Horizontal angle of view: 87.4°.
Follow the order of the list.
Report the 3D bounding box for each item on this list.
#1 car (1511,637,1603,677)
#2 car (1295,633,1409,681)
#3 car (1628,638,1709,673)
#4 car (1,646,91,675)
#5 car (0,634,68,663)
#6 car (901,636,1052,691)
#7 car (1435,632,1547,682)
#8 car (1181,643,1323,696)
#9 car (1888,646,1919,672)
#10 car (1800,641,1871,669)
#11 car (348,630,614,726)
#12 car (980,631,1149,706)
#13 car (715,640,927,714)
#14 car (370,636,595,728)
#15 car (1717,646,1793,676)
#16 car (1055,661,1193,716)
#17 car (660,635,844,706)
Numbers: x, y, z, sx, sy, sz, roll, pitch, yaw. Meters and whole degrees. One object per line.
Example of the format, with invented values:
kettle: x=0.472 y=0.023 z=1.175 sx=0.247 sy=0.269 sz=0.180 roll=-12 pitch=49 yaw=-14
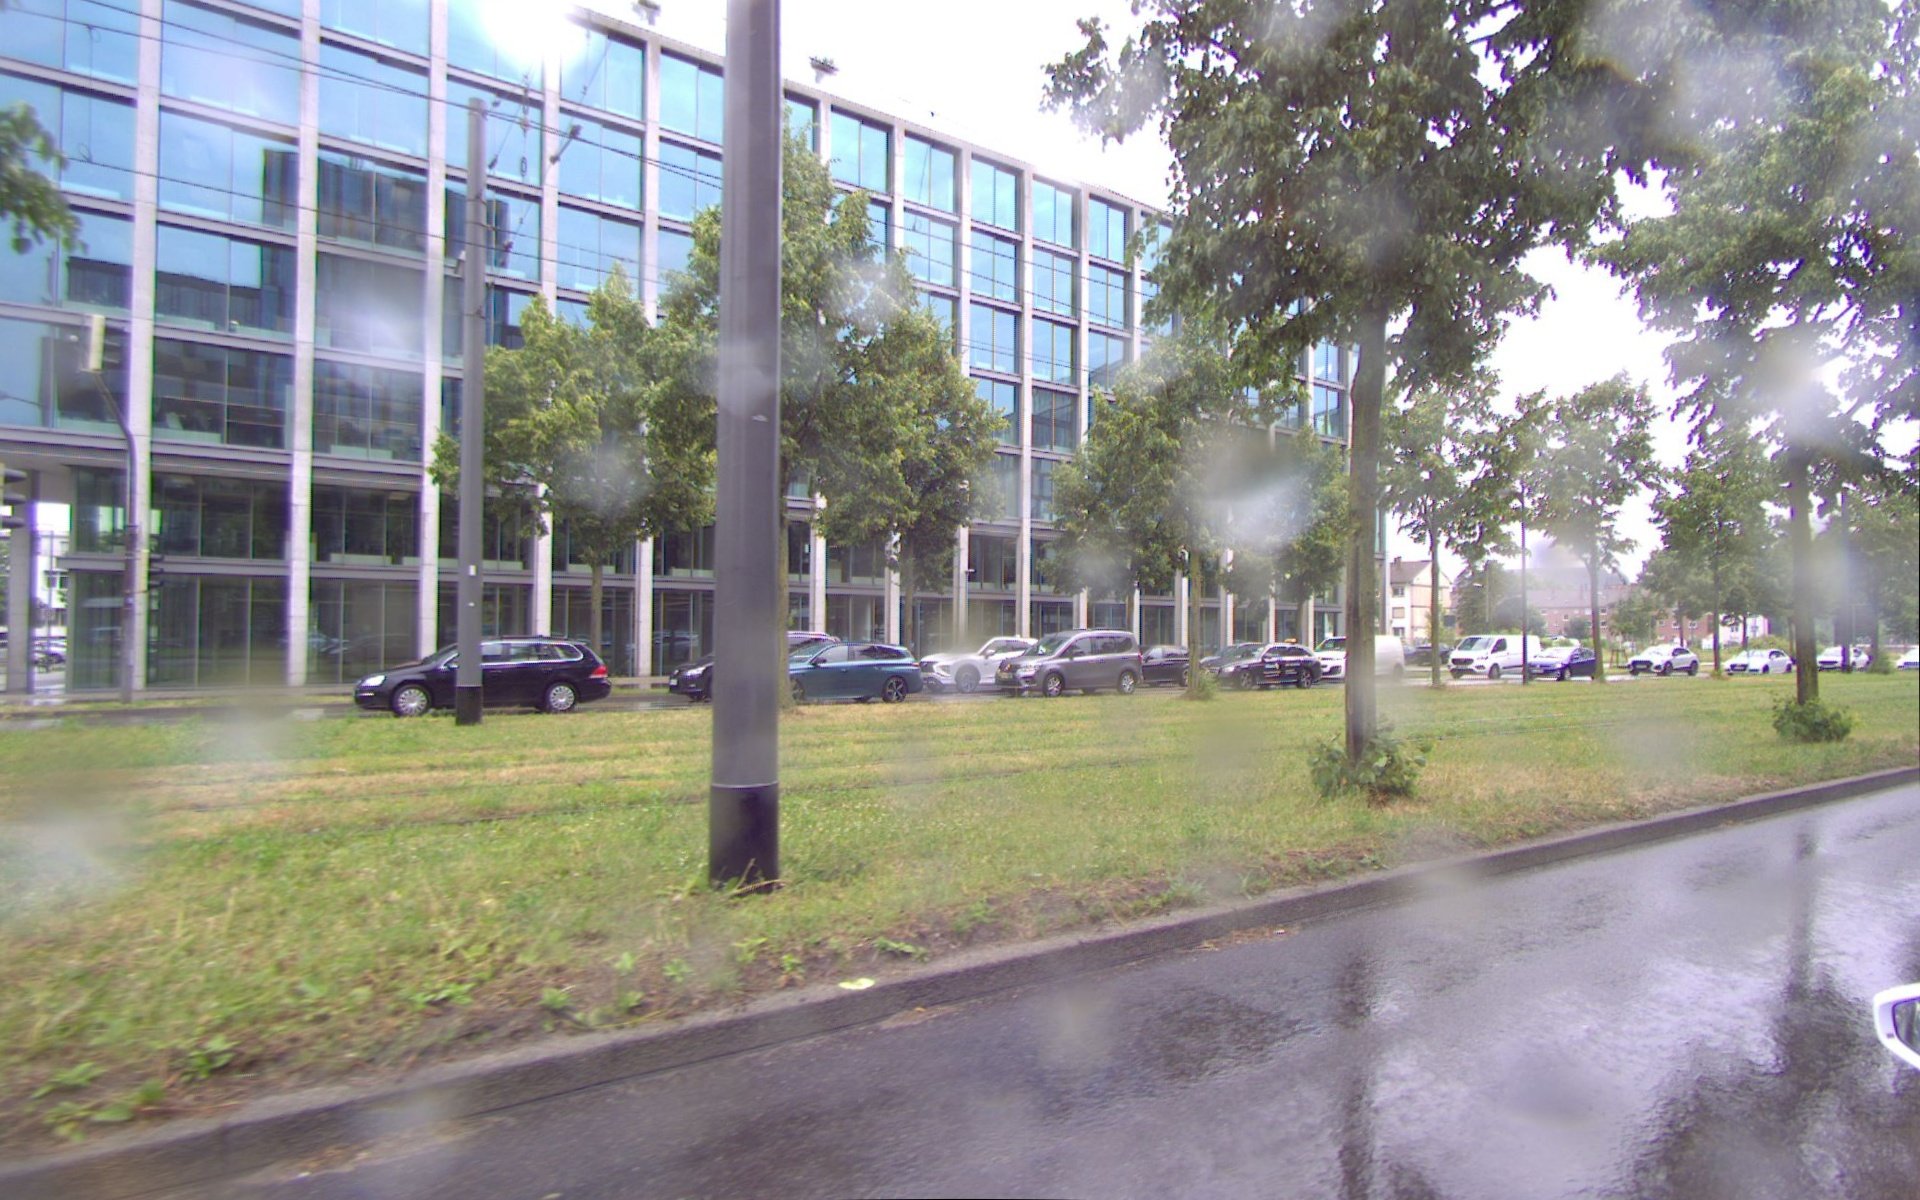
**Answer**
car: x=25.873 y=2.431 z=43.532 sx=3.920 sy=1.514 sz=1.939 roll=-1 pitch=-1 yaw=-34
car: x=15.922 y=2.251 z=40.687 sx=4.981 sy=1.674 sz=1.937 roll=-1 pitch=-1 yaw=-36
car: x=38.002 y=2.972 z=53.864 sx=4.524 sy=1.772 sz=1.941 roll=2 pitch=-2 yaw=-31
car: x=-60.207 y=3.954 z=66.256 sx=3.945 sy=1.684 sz=1.988 roll=-1 pitch=-1 yaw=-25
car: x=-58.681 y=3.013 z=62.781 sx=3.945 sy=1.684 sz=1.988 roll=-1 pitch=-1 yaw=-25
car: x=0.541 y=1.842 z=30.189 sx=4.231 sy=1.404 sz=1.937 roll=-1 pitch=-1 yaw=-36
car: x=24.575 y=2.588 z=46.447 sx=5.314 sy=2.033 sz=2.255 roll=-1 pitch=-1 yaw=-33
car: x=9.409 y=2.183 z=32.259 sx=4.557 sy=1.404 sz=1.938 roll=-1 pitch=-1 yaw=-35
car: x=63.253 y=3.845 z=66.072 sx=4.774 sy=1.480 sz=1.941 roll=-1 pitch=-1 yaw=-31
car: x=49.512 y=3.079 z=56.793 sx=4.529 sy=1.471 sz=1.939 roll=2 pitch=-2 yaw=-34
car: x=-9.182 y=1.402 z=19.388 sx=4.418 sy=1.580 sz=1.939 roll=0 pitch=-1 yaw=-35
car: x=2.927 y=1.813 z=27.803 sx=4.497 sy=1.873 sz=1.939 roll=1 pitch=-2 yaw=-35
car: x=-3.145 y=1.696 z=23.106 sx=4.428 sy=1.404 sz=1.938 roll=-1 pitch=-1 yaw=-36
car: x=-10.517 y=1.719 z=22.232 sx=4.230 sy=1.716 sz=1.938 roll=-1 pitch=-1 yaw=-36
car: x=42.415 y=3.223 z=53.554 sx=4.529 sy=1.533 sz=1.939 roll=2 pitch=-2 yaw=-34
car: x=5.505 y=2.888 z=33.435 sx=4.580 sy=1.466 sz=1.846 roll=-1 pitch=-1 yaw=-36
car: x=-5.316 y=1.745 z=25.914 sx=4.231 sy=1.560 sz=1.937 roll=-1 pitch=-1 yaw=-36
